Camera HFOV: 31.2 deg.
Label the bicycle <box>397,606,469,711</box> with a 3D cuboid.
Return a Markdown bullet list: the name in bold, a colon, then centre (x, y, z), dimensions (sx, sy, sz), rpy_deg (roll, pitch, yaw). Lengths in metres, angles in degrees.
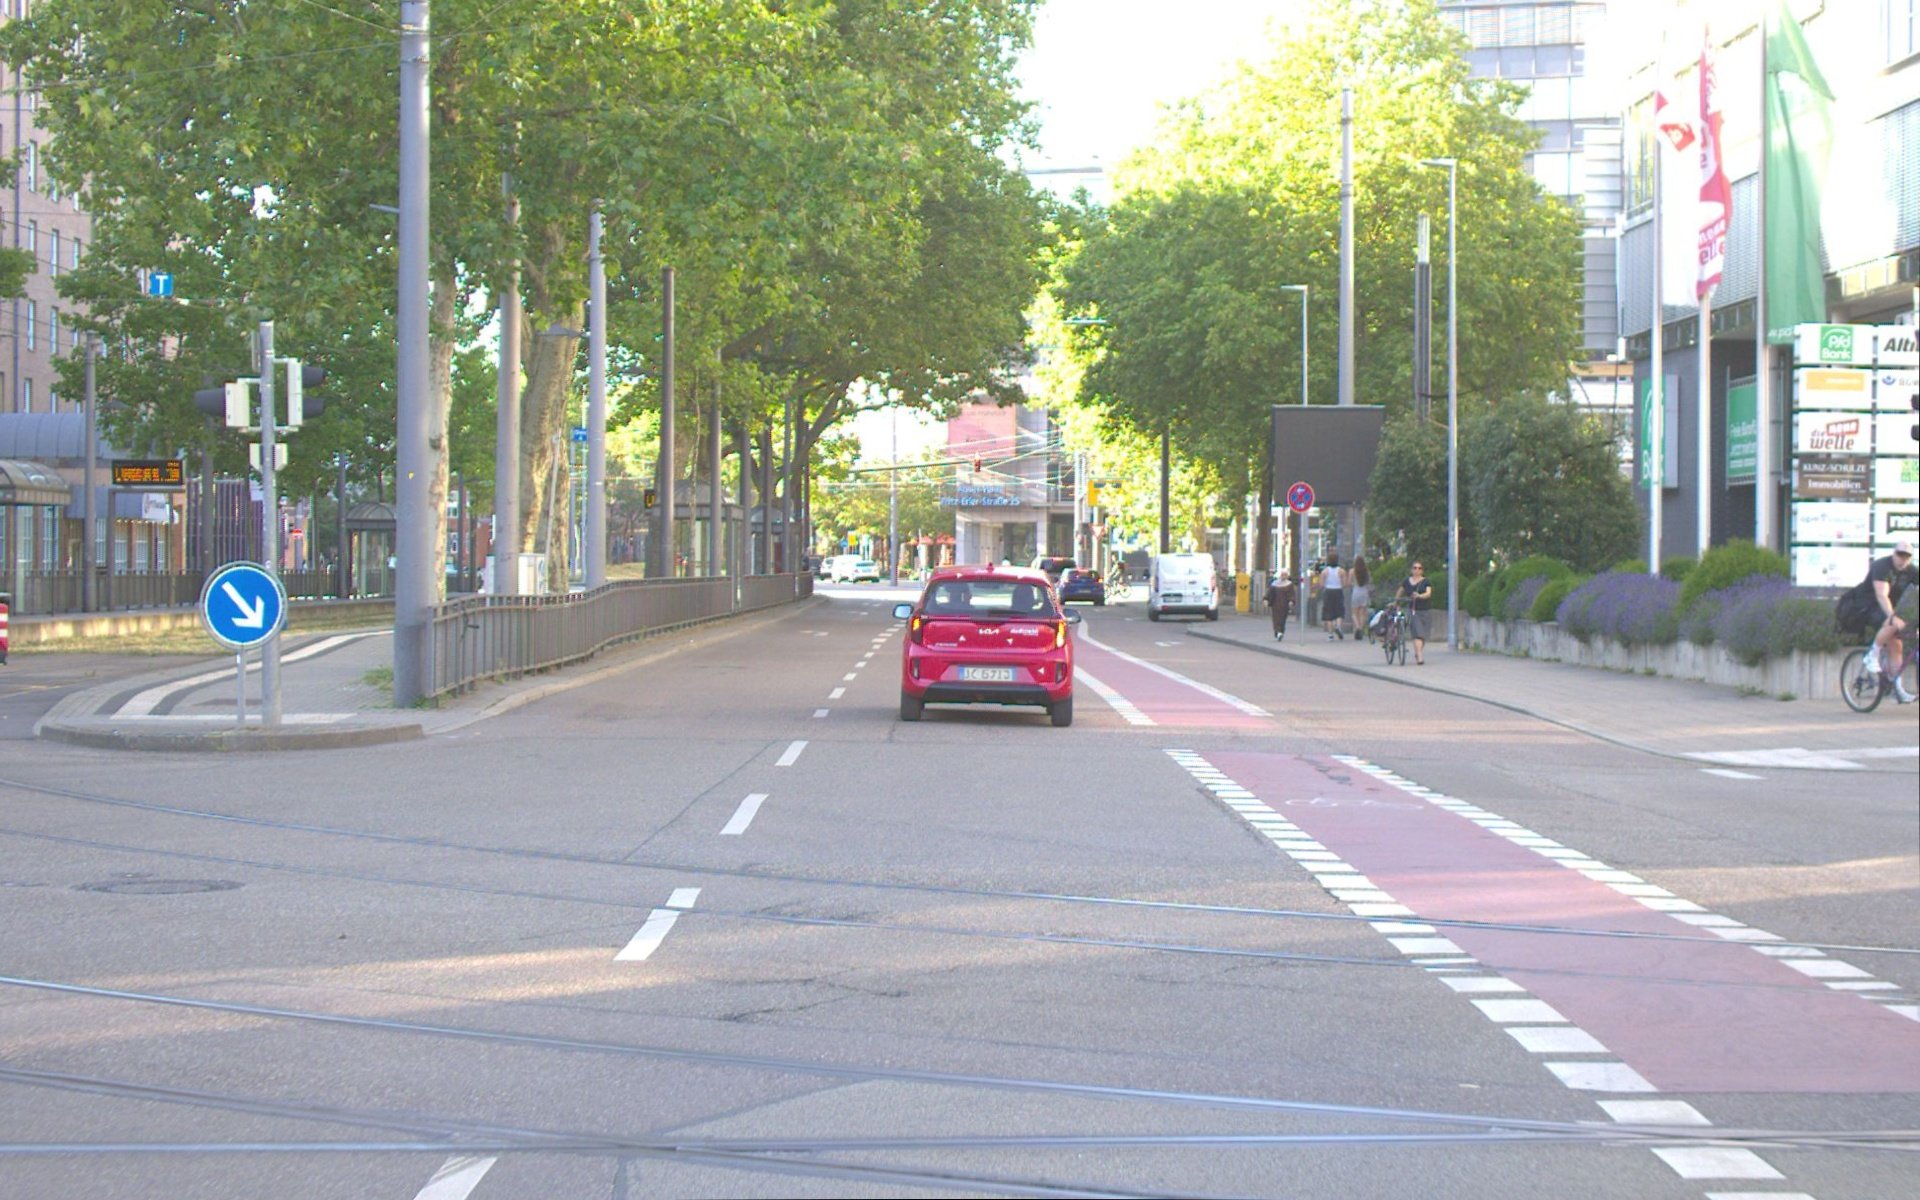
- **bicycle**: centre (-5.240, 0.570, 34.209), dimensions (0.395, 0.945, 1.351), rpy_deg (0, 3, 5)

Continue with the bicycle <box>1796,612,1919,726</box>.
- **bicycle**: centre (9.374, 0.687, 34.838), dimensions (0.696, 1.095, 1.751), rpy_deg (-4, 1, -30)

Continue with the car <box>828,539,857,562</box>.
- **car**: centre (-8.210, -3.470, 240.093), dimensions (1.777, 1.583, 3.412), rpy_deg (1, 1, -5)

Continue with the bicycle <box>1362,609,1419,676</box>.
- **bicycle**: centre (6.780, 0.660, 54.217), dimensions (0.520, 0.971, 2.201), rpy_deg (-3, 1, -1)

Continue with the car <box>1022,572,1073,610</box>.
- **car**: centre (3.699, -0.399, 145.834), dimensions (1.777, 1.529, 3.513), rpy_deg (1, 1, -5)

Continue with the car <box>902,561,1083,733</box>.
- **car**: centre (0.287, 0.411, 33.017), dimensions (1.613, 1.529, 3.412), rpy_deg (1, 1, 0)

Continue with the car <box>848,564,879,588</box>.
- **car**: centre (-6.394, -1.610, 227.504), dimensions (1.777, 1.529, 3.412), rpy_deg (1, 1, -5)

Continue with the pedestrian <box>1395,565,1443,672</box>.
- **pedestrian**: centre (7.232, 0.285, 54.188), dimensions (0.646, 1.674, 0.651), rpy_deg (0, 0, -1)

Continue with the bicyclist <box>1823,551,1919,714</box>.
- **bicyclist**: centre (9.404, 0.318, 34.741), dimensions (0.722, 1.597, 1.089), rpy_deg (-2, 1, -30)

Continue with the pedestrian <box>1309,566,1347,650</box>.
- **pedestrian**: centre (7.612, 0.159, 71.169), dimensions (0.564, 1.696, 0.907), rpy_deg (-3, 0, -2)

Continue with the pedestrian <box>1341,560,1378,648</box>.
- **pedestrian**: centre (8.293, 0.074, 71.425), dimensions (0.540, 1.790, 0.907), rpy_deg (-3, 0, -2)

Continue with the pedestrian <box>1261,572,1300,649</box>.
- **pedestrian**: centre (6.759, 0.215, 72.459), dimensions (0.642, 1.574, 0.723), rpy_deg (-3, 0, -2)

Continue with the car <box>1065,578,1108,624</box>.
- **car**: centre (4.959, 0.032, 135.347), dimensions (1.635, 1.794, 3.330), rpy_deg (0, 1, 2)

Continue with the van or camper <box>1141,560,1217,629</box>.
- **van or camper**: centre (6.505, -0.185, 102.459), dimensions (1.993, 1.982, 4.745), rpy_deg (1, 0, 1)

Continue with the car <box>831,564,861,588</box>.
- **car**: centre (-7.764, -1.643, 234.095), dimensions (1.777, 1.529, 3.412), rpy_deg (1, 1, -5)
